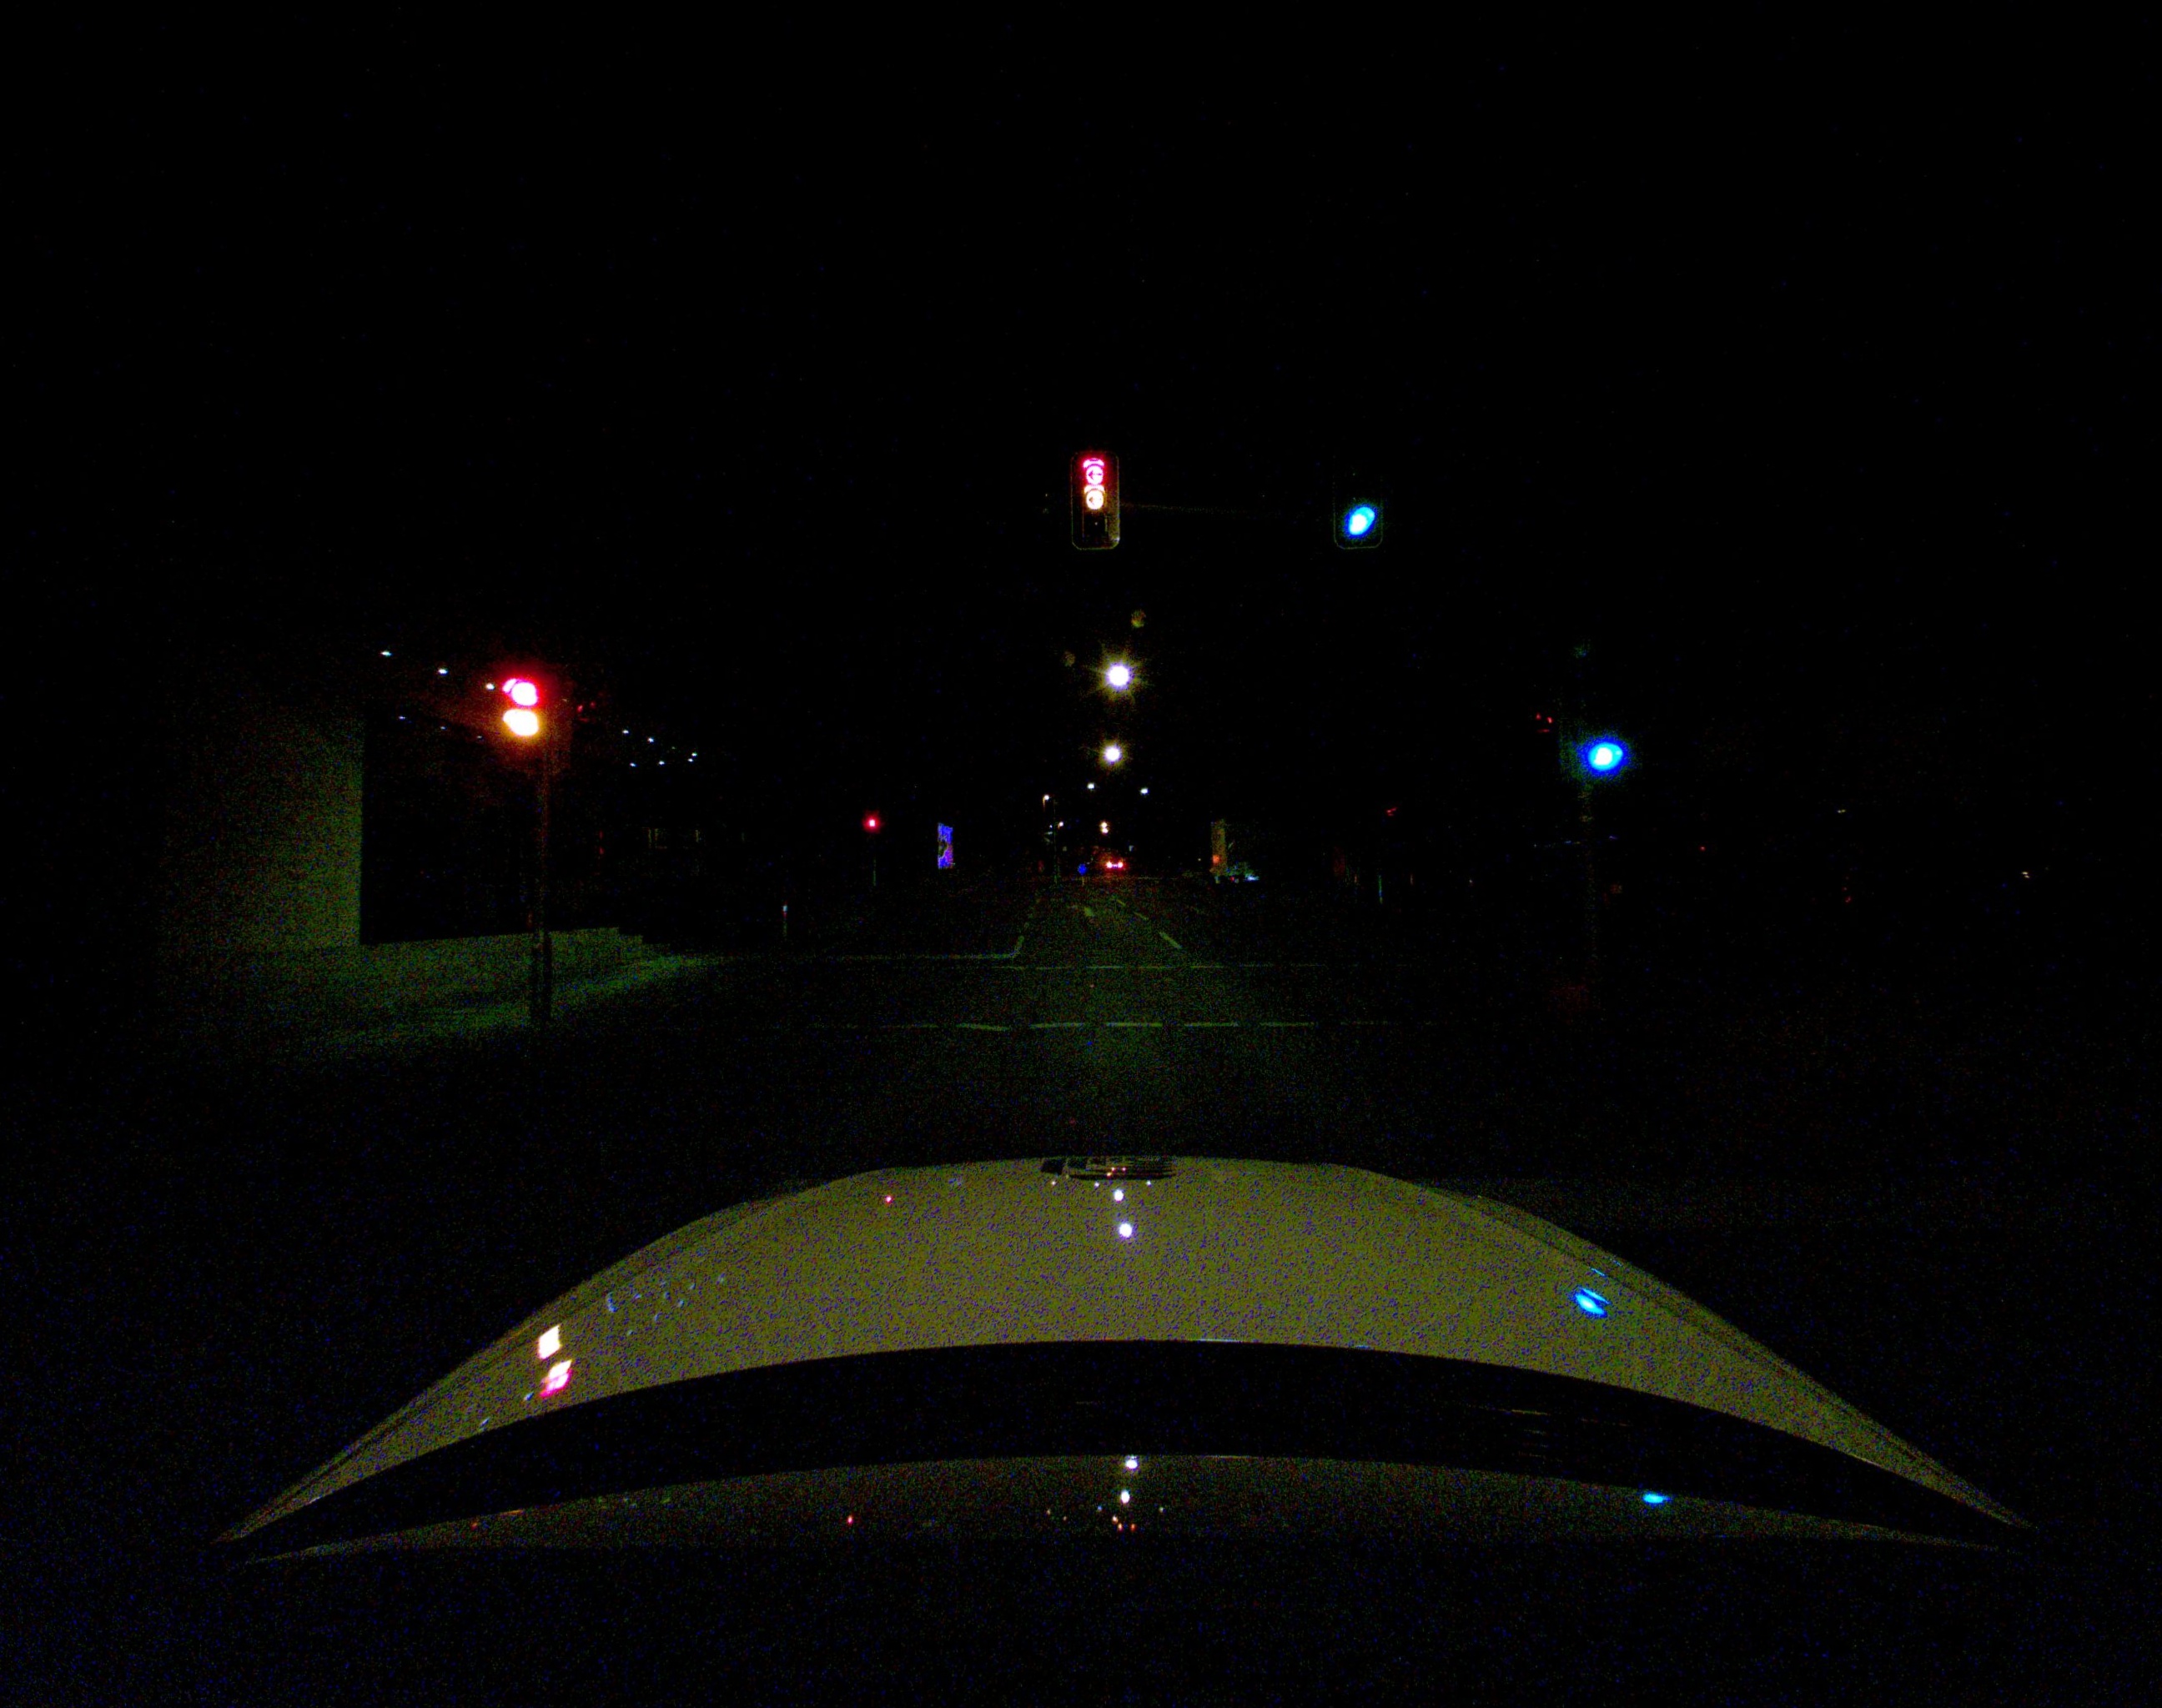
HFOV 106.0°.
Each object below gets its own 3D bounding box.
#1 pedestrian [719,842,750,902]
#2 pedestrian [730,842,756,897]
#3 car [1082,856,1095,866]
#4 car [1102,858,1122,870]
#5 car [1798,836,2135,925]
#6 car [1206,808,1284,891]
[{"bbox_3d":[-10.395,0.529,24.453,0.568,1.778,0.737,1,-1,1],"label":"pedestrian"},{"bbox_3d":[-10.677,0.495,25.740,0.568,1.731,0.544,0,-1,1],"label":"pedestrian"},{"bbox_3d":[1.250,1.148,134.562,1.901,1.557,3.906,0,-1,2],"label":"car"},{"bbox_3d":[3.738,1.201,98.055,1.774,1.486,3.990,0,-1,-7],"label":"car"},{"bbox_3d":[17.459,0.560,16.295,4.342,1.560,1.807,-2,-3,8],"label":"car"},{"bbox_3d":[6.762,-0.148,34.229,2.287,3.093,5.845,-2,-1,3],"label":"car"}]
